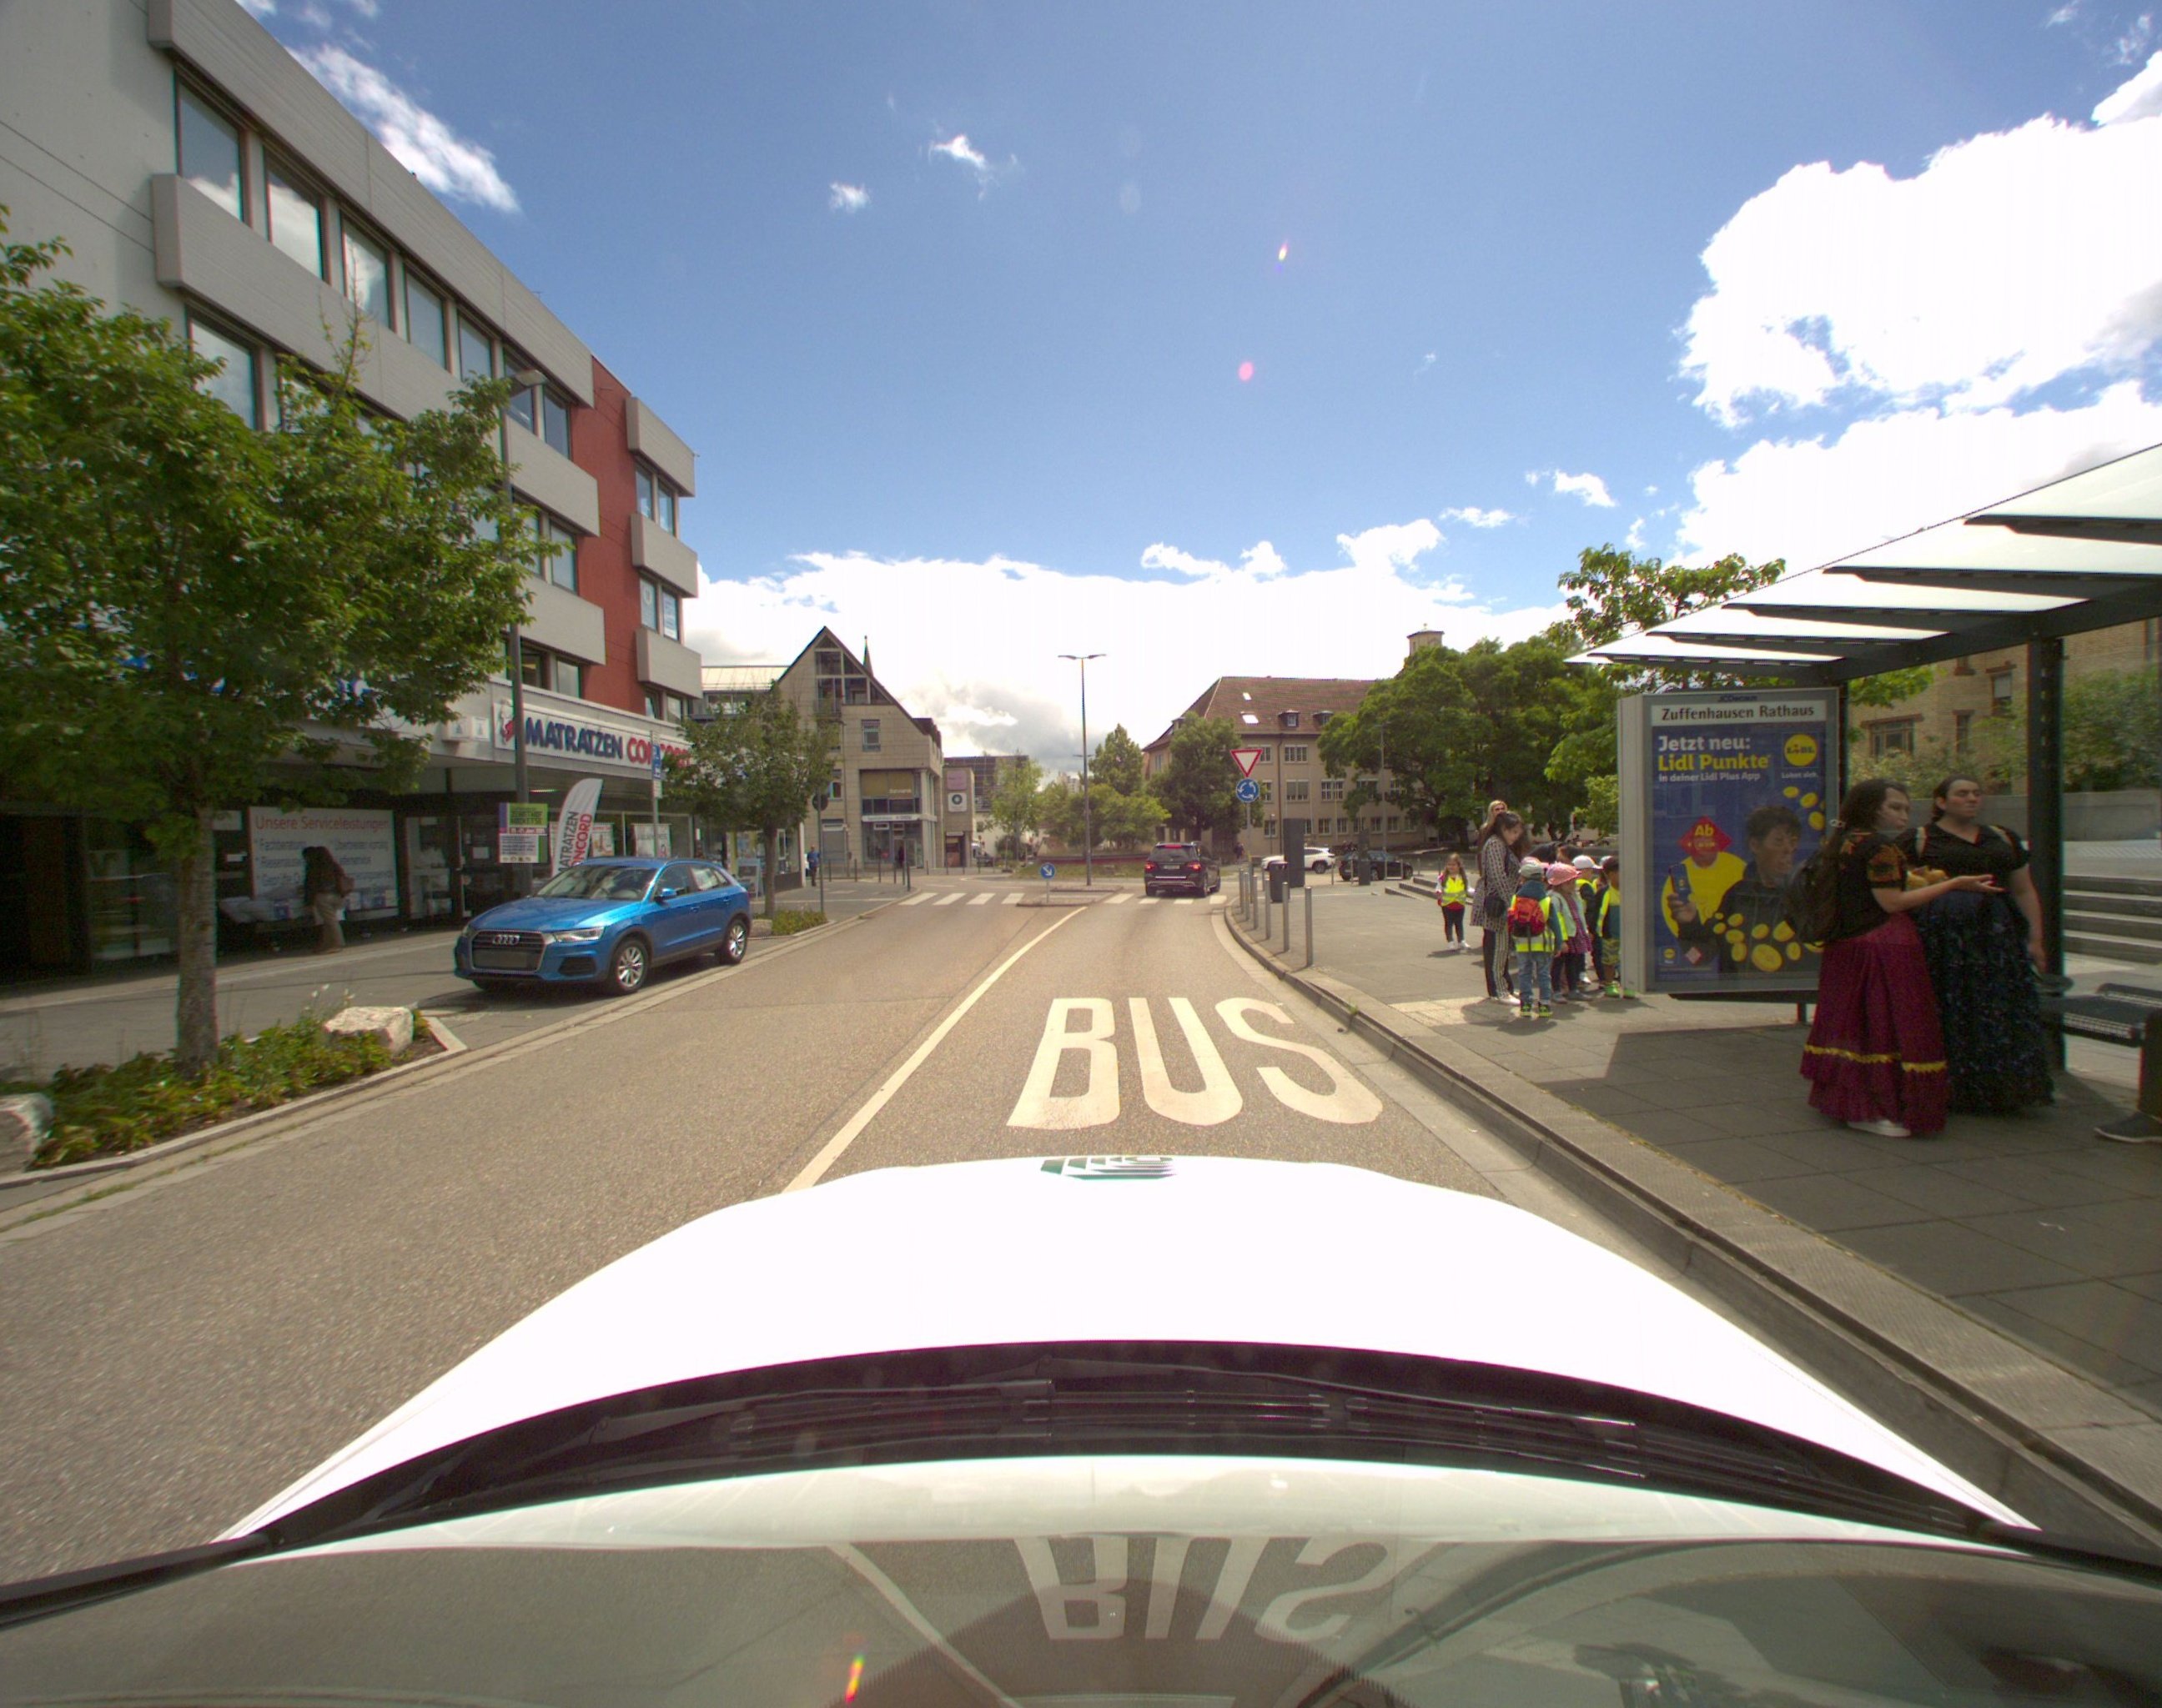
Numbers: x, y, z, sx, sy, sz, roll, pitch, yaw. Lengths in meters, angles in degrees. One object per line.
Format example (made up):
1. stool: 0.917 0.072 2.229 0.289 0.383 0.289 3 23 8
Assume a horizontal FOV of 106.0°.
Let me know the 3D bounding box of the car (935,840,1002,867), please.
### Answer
1. car: -11.337 -0.003 82.124 6.307 2.560 2.191 0 -3 -21

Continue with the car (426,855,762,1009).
1. car: -6.077 0.834 10.900 1.687 1.599 4.335 1 0 3

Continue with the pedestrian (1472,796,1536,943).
1. pedestrian: 5.428 0.192 10.474 0.536 1.823 0.437 -4 0 13

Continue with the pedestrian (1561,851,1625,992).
1. pedestrian: 4.384 0.567 6.974 0.320 1.152 0.318 -4 0 -39

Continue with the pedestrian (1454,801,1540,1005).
1. pedestrian: 3.460 0.393 6.801 0.385 1.619 0.469 -4 0 3

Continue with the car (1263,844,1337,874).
1. car: 13.413 0.293 49.880 4.222 1.576 1.857 -3 0 16

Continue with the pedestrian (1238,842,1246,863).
1. pedestrian: 12.675 -0.126 64.249 0.567 1.608 0.440 1 4 21

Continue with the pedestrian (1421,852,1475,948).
1. pedestrian: 4.659 0.575 10.347 0.470 1.172 0.393 -4 0 39

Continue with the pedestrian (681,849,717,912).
1. pedestrian: -9.701 0.662 20.674 0.584 1.588 0.639 -1 0 2

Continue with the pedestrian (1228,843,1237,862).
1. pedestrian: 11.968 -0.124 64.431 0.631 1.523 0.580 1 4 18

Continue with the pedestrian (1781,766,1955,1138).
1. pedestrian: 3.604 0.411 3.769 0.491 1.566 0.505 -3 0 40

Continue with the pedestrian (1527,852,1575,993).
1. pedestrian: 4.022 0.576 6.971 0.249 1.174 0.253 -4 0 39

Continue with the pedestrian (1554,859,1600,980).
1. pedestrian: 4.533 0.592 7.452 0.249 1.069 0.252 -4 0 17

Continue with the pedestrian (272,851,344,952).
1. pedestrian: -12.403 0.745 13.080 0.508 1.566 0.587 -3 0 1

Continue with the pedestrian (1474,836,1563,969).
1. pedestrian: 4.537 0.493 8.466 0.435 1.304 0.593 -4 -1 -33

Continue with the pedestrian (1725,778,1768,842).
1. pedestrian: 13.752 -0.891 16.838 0.361 1.285 0.642 -2 1 6

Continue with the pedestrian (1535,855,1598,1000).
1. pedestrian: 3.975 0.593 6.676 0.295 1.152 0.294 -4 0 11

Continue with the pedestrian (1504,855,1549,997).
1. pedestrian: 3.762 0.598 6.872 0.261 1.160 0.273 -4 0 30

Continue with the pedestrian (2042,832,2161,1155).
1. pedestrian: 4.271 0.529 3.108 0.377 1.211 0.632 -4 0 -5

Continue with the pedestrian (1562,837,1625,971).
1. pedestrian: 4.920 0.472 7.828 0.321 1.238 0.334 -4 0 4

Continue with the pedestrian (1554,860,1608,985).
1. pedestrian: 4.433 0.598 7.220 0.250 1.069 0.252 -4 0 -3

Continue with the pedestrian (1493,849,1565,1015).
1. pedestrian: 3.466 0.589 6.315 0.399 1.226 0.390 -3 0 23

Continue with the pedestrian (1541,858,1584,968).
1. pedestrian: 4.821 0.587 8.160 0.249 1.069 0.253 -4 0 11

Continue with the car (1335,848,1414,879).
1. car: 14.054 0.425 38.969 3.852 1.383 1.597 -1 0 -34

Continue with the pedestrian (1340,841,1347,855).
1. pedestrian: 23.266 -0.540 72.226 0.482 1.182 0.584 0 0 36

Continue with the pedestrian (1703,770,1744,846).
1. pedestrian: 13.177 -0.940 16.720 0.498 1.508 0.456 -2 1 17

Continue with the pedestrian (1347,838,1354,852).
1. pedestrian: 24.004 -0.810 72.524 0.482 1.222 0.584 0 0 36

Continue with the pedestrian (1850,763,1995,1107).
1. pedestrian: 4.070 0.371 3.963 0.389 1.566 0.354 -3 0 38

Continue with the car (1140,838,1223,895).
1. car: 3.443 0.380 27.099 2.012 1.727 4.452 -1 0 16

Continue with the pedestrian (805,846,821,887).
1. pedestrian: -10.722 0.483 32.587 0.569 1.603 0.602 -1 1 -19

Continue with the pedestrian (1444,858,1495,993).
1. pedestrian: 3.419 0.621 7.180 0.273 1.152 0.249 -4 0 5

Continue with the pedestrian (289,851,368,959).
1. pedestrian: -11.406 0.765 12.355 0.579 1.566 0.649 -3 0 24

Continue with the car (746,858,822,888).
1. car: -17.114 1.090 47.096 3.873 1.531 1.653 -3 0 -11

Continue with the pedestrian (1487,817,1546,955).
1. pedestrian: 4.935 0.352 9.247 0.387 1.517 0.390 -4 0 7

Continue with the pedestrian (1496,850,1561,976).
1. pedestrian: 4.344 0.567 7.914 0.337 1.167 0.348 -4 -1 -31
